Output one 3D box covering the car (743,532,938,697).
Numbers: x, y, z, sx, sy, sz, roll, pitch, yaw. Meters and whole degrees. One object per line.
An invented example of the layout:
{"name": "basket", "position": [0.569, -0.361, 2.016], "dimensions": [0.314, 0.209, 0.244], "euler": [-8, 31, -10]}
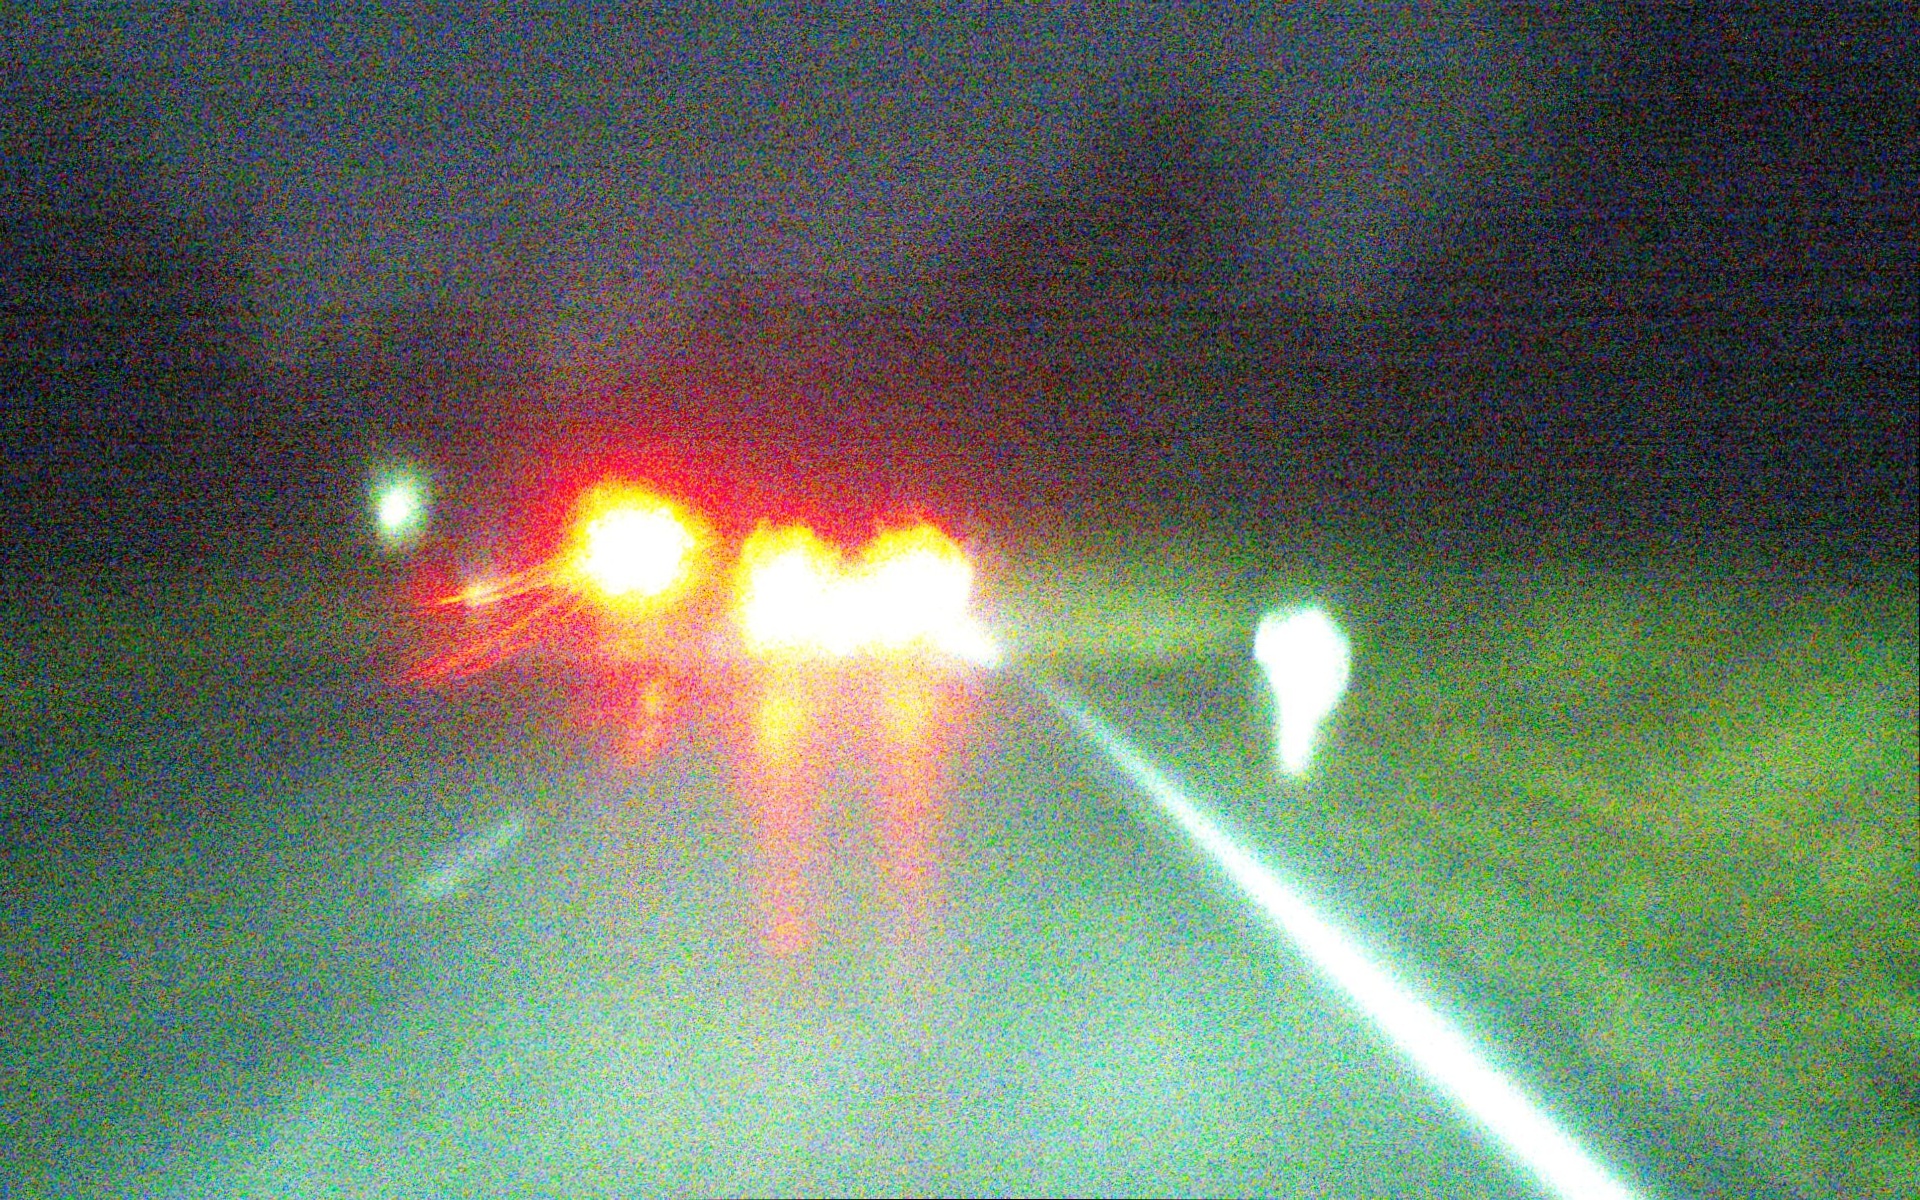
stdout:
{"name": "car", "position": [-1.321, 0.102, 38.043], "dimensions": [1.993, 1.622, 4.985], "euler": [-1, 2, -2]}
